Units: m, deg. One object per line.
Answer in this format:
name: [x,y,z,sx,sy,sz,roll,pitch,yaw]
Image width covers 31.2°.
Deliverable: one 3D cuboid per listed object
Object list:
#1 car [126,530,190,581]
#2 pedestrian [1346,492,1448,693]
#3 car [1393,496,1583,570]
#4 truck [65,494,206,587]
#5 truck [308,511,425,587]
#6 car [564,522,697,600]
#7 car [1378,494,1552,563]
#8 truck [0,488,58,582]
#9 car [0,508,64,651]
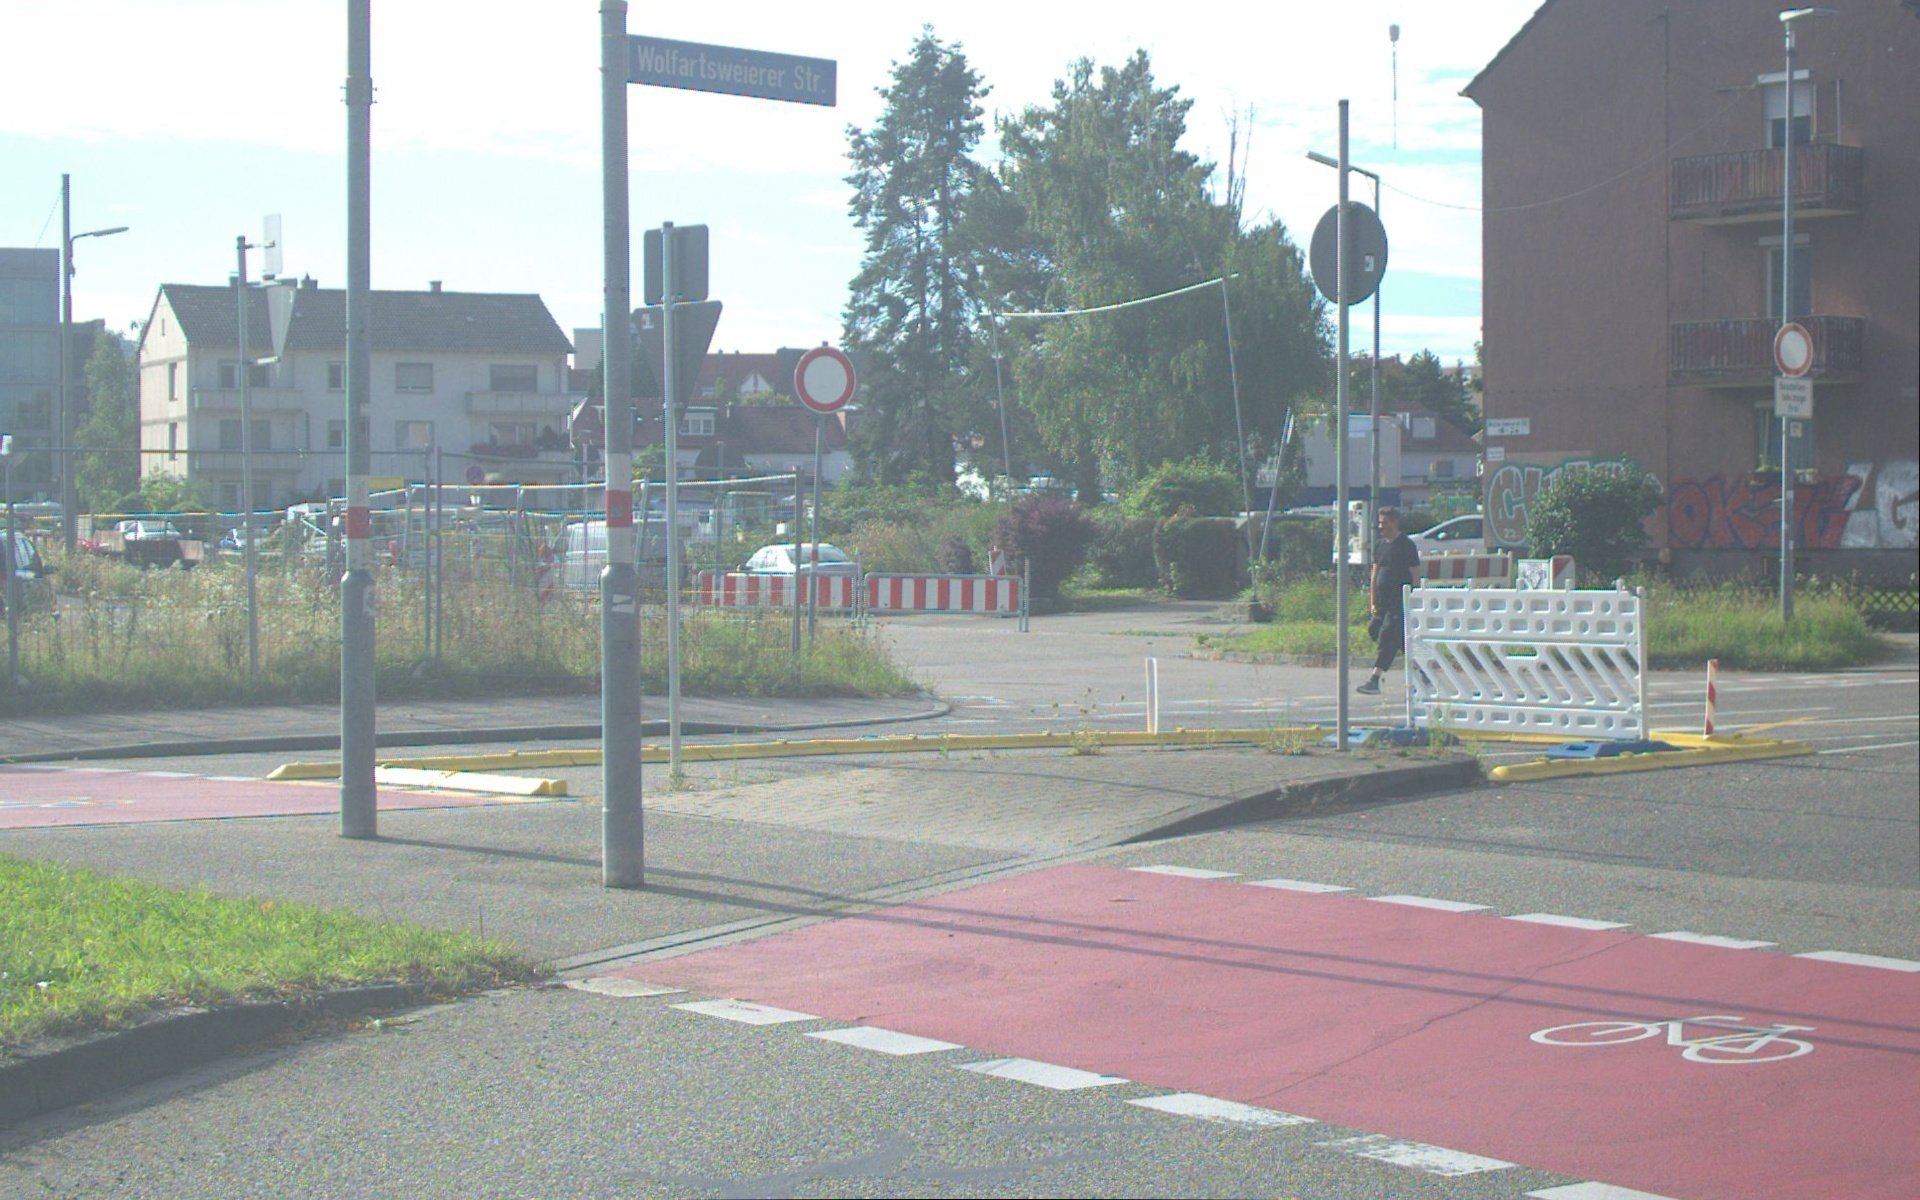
car: [-29.829,-1.679,127.801,1.993,1.853,4.001,0,1,-18]
pedestrian: [4.122,-0.085,32.405,0.668,1.864,0.834,1,1,32]
car: [11.717,-1.492,76.223,3.989,1.612,1.772,0,1,15]
truck: [-21.469,-1.562,89.372,2.285,2.320,5.640,0,1,-27]
truck: [-17.462,-1.516,100.977,1.974,2.164,5.407,-1,1,-26]
car: [-7.907,-0.956,82.123,1.879,1.809,4.001,-1,1,-26]
car: [12.028,-1.713,82.078,3.987,1.612,1.773,0,1,4]
truck: [-24.849,-1.687,88.280,2.056,2.320,5.640,0,1,-27]
car: [-12.980,-0.299,45.422,1.879,1.809,4.001,0,1,-10]
